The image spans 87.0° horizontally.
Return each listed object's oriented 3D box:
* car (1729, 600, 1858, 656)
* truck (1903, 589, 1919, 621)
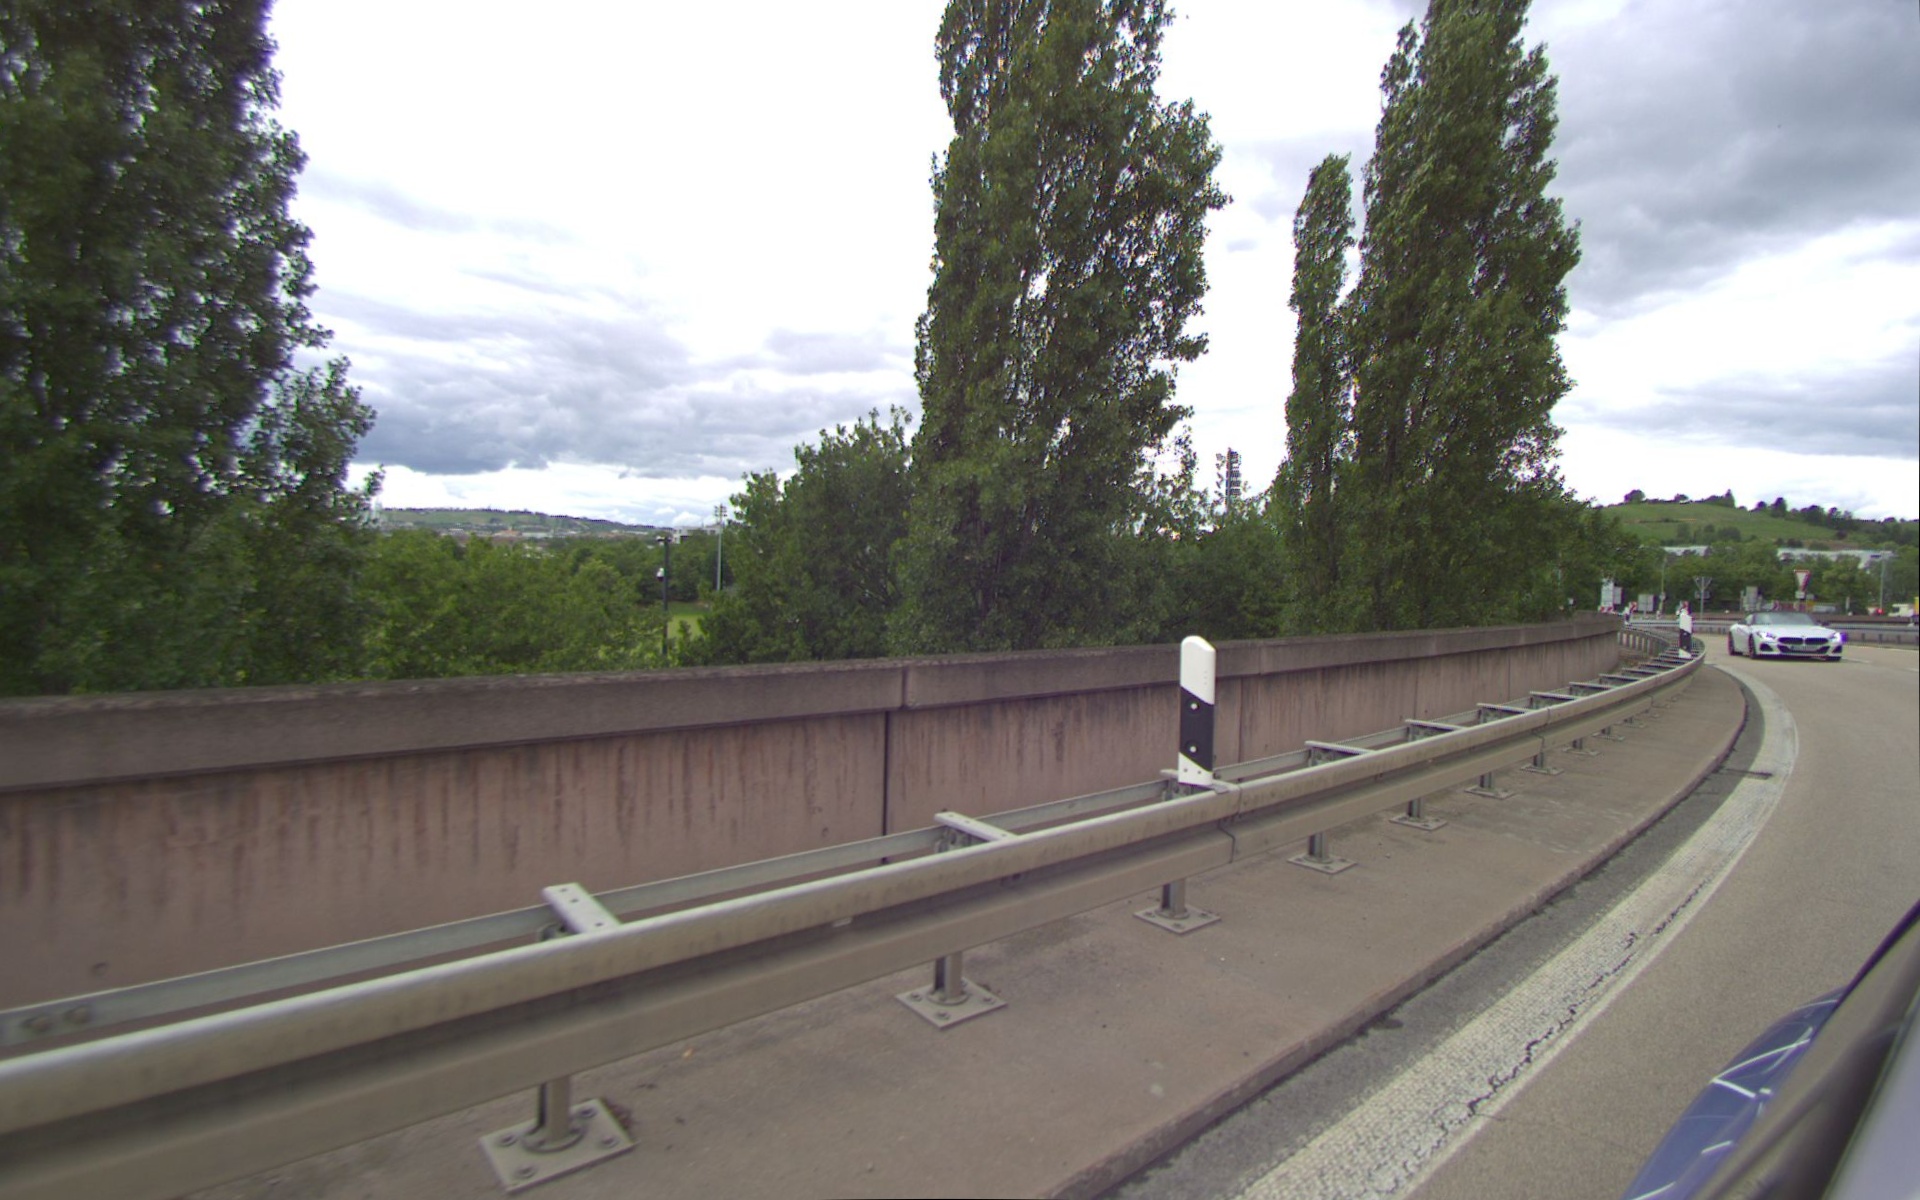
[{"bbox_3d":[22.624,0.691,27.672,1.847,1.362,4.775,0,0,29],"label":"car"},{"bbox_3d":[132.712,0.704,138.166,2.580,4.255,5.114,0,2,-23],"label":"truck"}]
